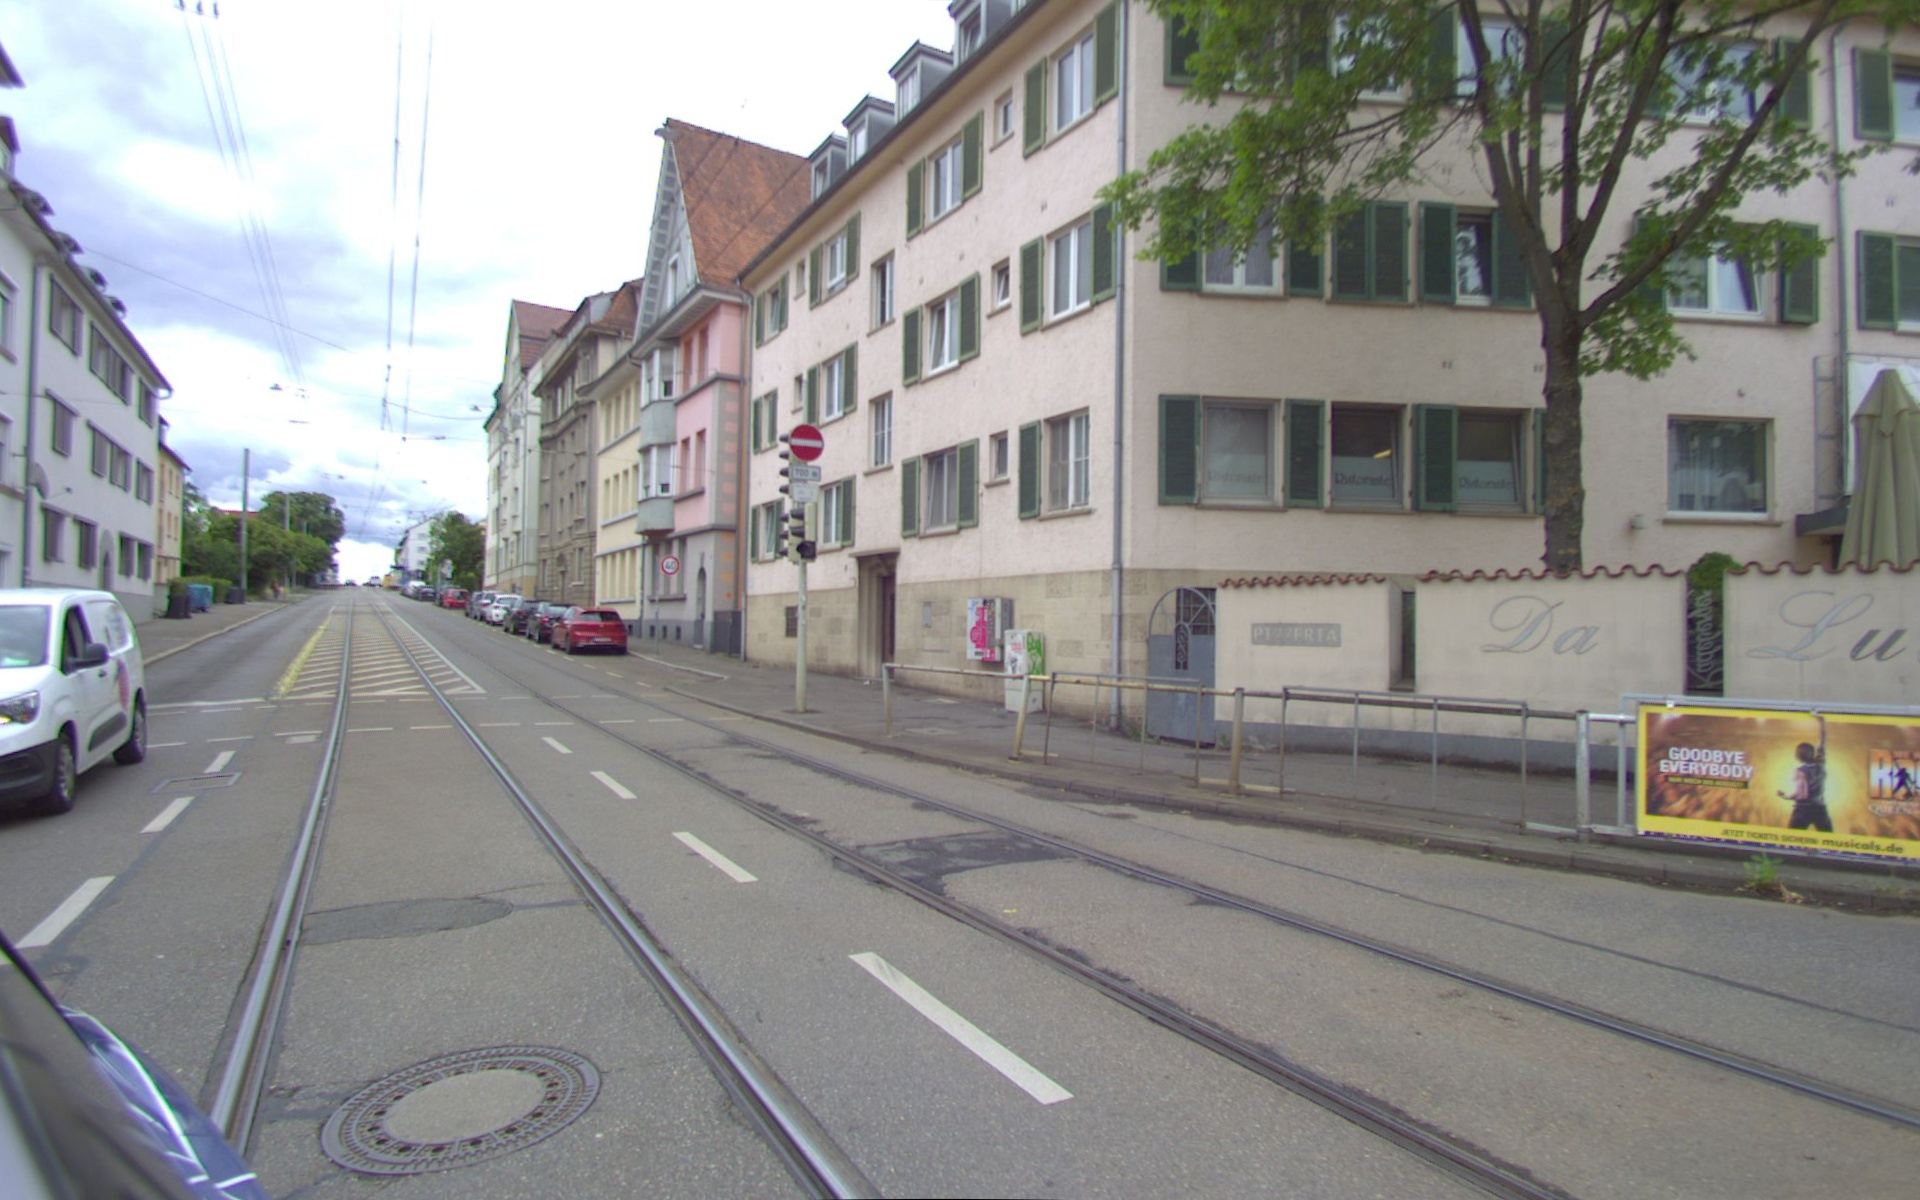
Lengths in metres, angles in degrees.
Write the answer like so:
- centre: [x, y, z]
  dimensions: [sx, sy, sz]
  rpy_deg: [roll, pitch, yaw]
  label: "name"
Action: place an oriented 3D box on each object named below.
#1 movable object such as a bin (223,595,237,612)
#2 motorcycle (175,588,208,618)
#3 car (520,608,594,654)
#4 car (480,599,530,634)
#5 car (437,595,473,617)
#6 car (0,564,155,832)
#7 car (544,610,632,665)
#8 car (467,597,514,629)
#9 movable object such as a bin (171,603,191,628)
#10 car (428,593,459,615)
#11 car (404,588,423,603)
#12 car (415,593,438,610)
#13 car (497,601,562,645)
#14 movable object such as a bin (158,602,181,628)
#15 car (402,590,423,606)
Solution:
- centre: [-46.156, 0.238, 64.003]
  dimensions: [0.658, 1.067, 0.541]
  rpy_deg: [1, 0, -31]
  label: "movable object such as a bin"
- centre: [-37.413, 0.143, 49.295]
  dimensions: [0.719, 1.400, 1.943]
  rpy_deg: [6, -2, -24]
  label: "motorcycle"
- centre: [-14.686, 1.097, 36.733]
  dimensions: [1.760, 1.421, 4.254]
  rpy_deg: [4, -1, -31]
  label: "car"
- centre: [-22.119, 0.798, 49.140]
  dimensions: [1.714, 1.522, 3.812]
  rpy_deg: [2, 0, -31]
  label: "car"
- centre: [-37.225, 0.420, 74.556]
  dimensions: [1.715, 1.469, 3.962]
  rpy_deg: [4, -1, -35]
  label: "car"
- centre: [-8.521, 0.745, 8.626]
  dimensions: [1.857, 1.852, 4.691]
  rpy_deg: [-3, 1, -30]
  label: "car"
- centre: [-11.814, 1.134, 31.970]
  dimensions: [1.760, 1.449, 4.274]
  rpy_deg: [4, -1, -31]
  label: "car"
- centre: [-24.994, 0.674, 53.808]
  dimensions: [1.715, 1.579, 4.155]
  rpy_deg: [1, 1, -32]
  label: "car"
- centre: [-33.395, 0.677, 43.383]
  dimensions: [0.556, 1.017, 0.499]
  rpy_deg: [6, -3, -40]
  label: "movable object such as a bin"
- centre: [-40.142, 0.319, 78.650]
  dimensions: [1.715, 1.537, 3.963]
  rpy_deg: [4, -1, -32]
  label: "car"
- centre: [-65.479, -0.556, 121.187]
  dimensions: [1.715, 1.537, 3.963]
  rpy_deg: [4, -1, -32]
  label: "car"
- centre: [-53.011, 0.166, 100.535]
  dimensions: [1.715, 1.537, 3.963]
  rpy_deg: [4, -1, -32]
  label: "car"
- centre: [-17.631, 0.903, 41.317]
  dimensions: [1.760, 1.522, 4.540]
  rpy_deg: [4, -1, -31]
  label: "car"
- centre: [-33.123, 0.636, 42.395]
  dimensions: [0.627, 1.017, 0.604]
  rpy_deg: [5, -2, -31]
  label: "movable object such as a bin"
- centre: [-60.224, -0.226, 111.239]
  dimensions: [1.715, 1.537, 3.963]
  rpy_deg: [4, -1, -32]
  label: "car"
